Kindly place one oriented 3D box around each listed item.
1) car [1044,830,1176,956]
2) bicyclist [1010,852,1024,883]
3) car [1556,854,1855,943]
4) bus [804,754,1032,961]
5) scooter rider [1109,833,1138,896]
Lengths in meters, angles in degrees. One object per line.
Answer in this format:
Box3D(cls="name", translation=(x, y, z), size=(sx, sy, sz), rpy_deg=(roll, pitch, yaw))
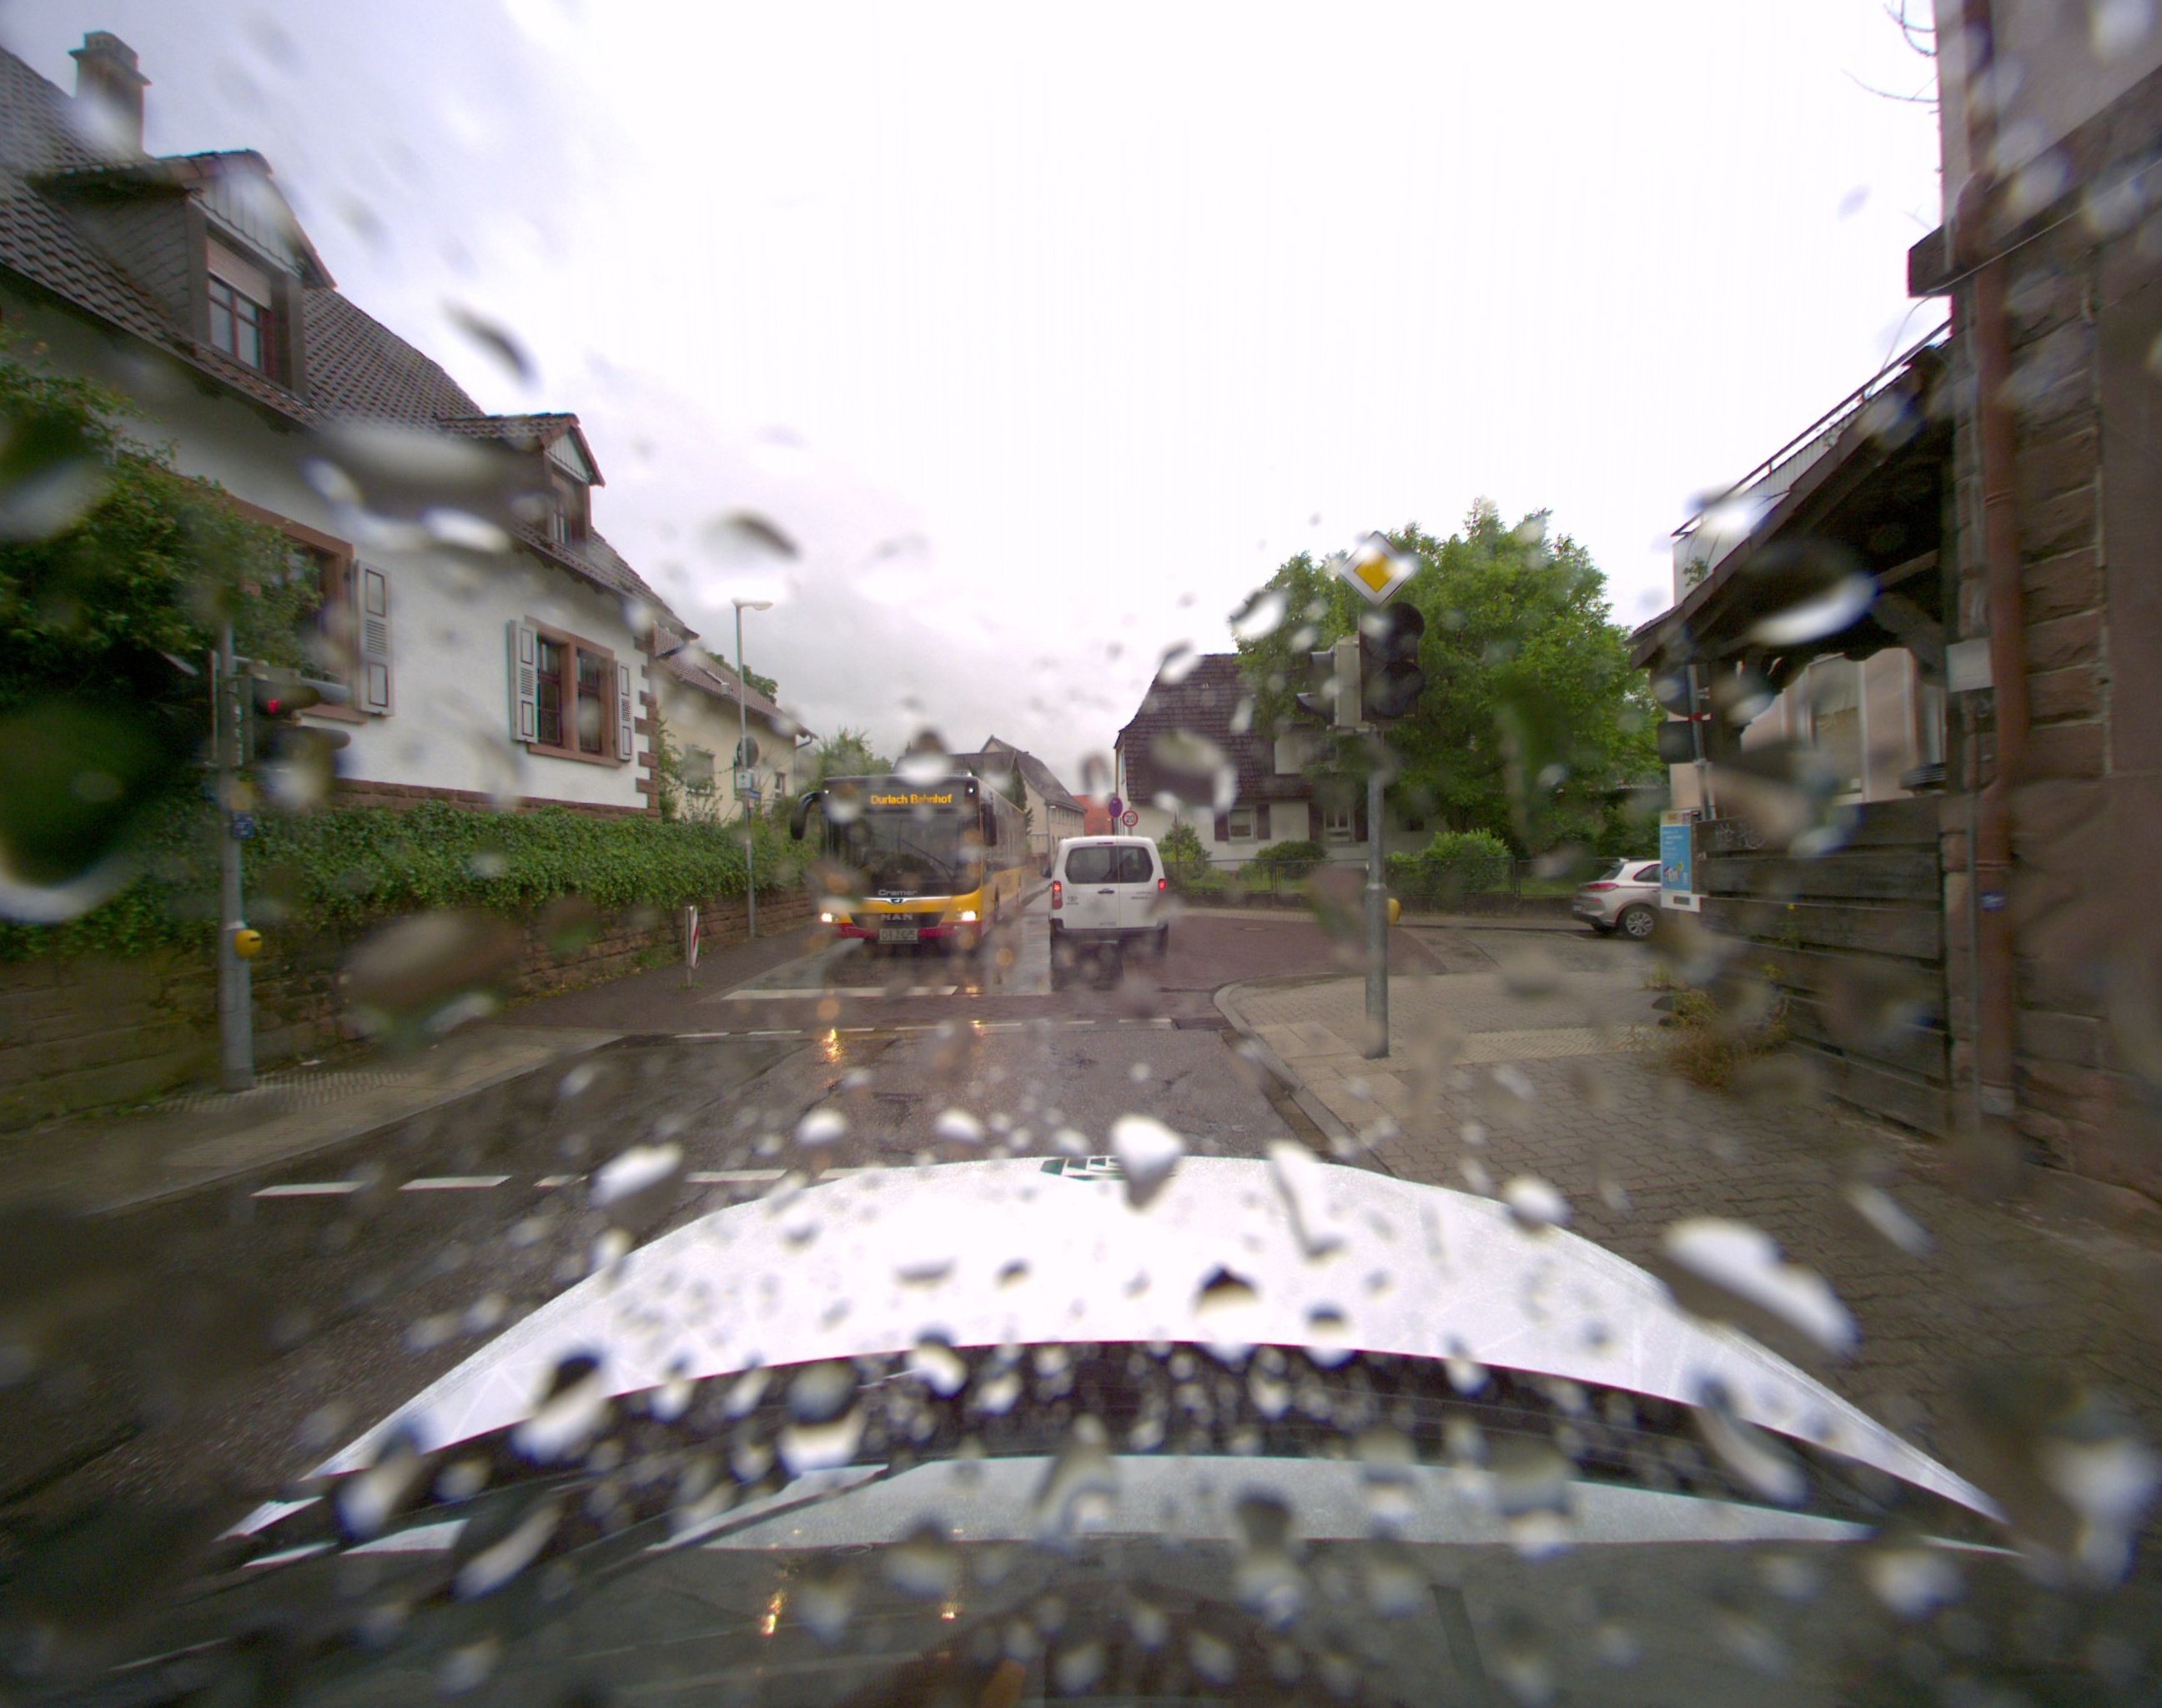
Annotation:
Box3D(cls="car", translation=(0.369, 0.557, 13.597), size=(1.889, 1.794, 3.811), rpy_deg=(-1, 0, -2))
Box3D(cls="bicyclist", translation=(-3.536, 0.736, 45.245), size=(0.586, 1.707, 0.517), rpy_deg=(-3, -1, 4))
Box3D(cls="car", translation=(11.103, 0.749, 14.818), size=(3.957, 1.467, 1.791), rpy_deg=(0, -1, 16))
Box3D(cls="bus", translation=(-2.769, -0.095, 18.105), size=(2.641, 2.999, 12.189), rpy_deg=(-1, 1, -1))
Box3D(cls="scooter rider", translation=(1.195, 0.289, 22.785), size=(0.728, 1.733, 0.518), rpy_deg=(-2, 0, 3))
